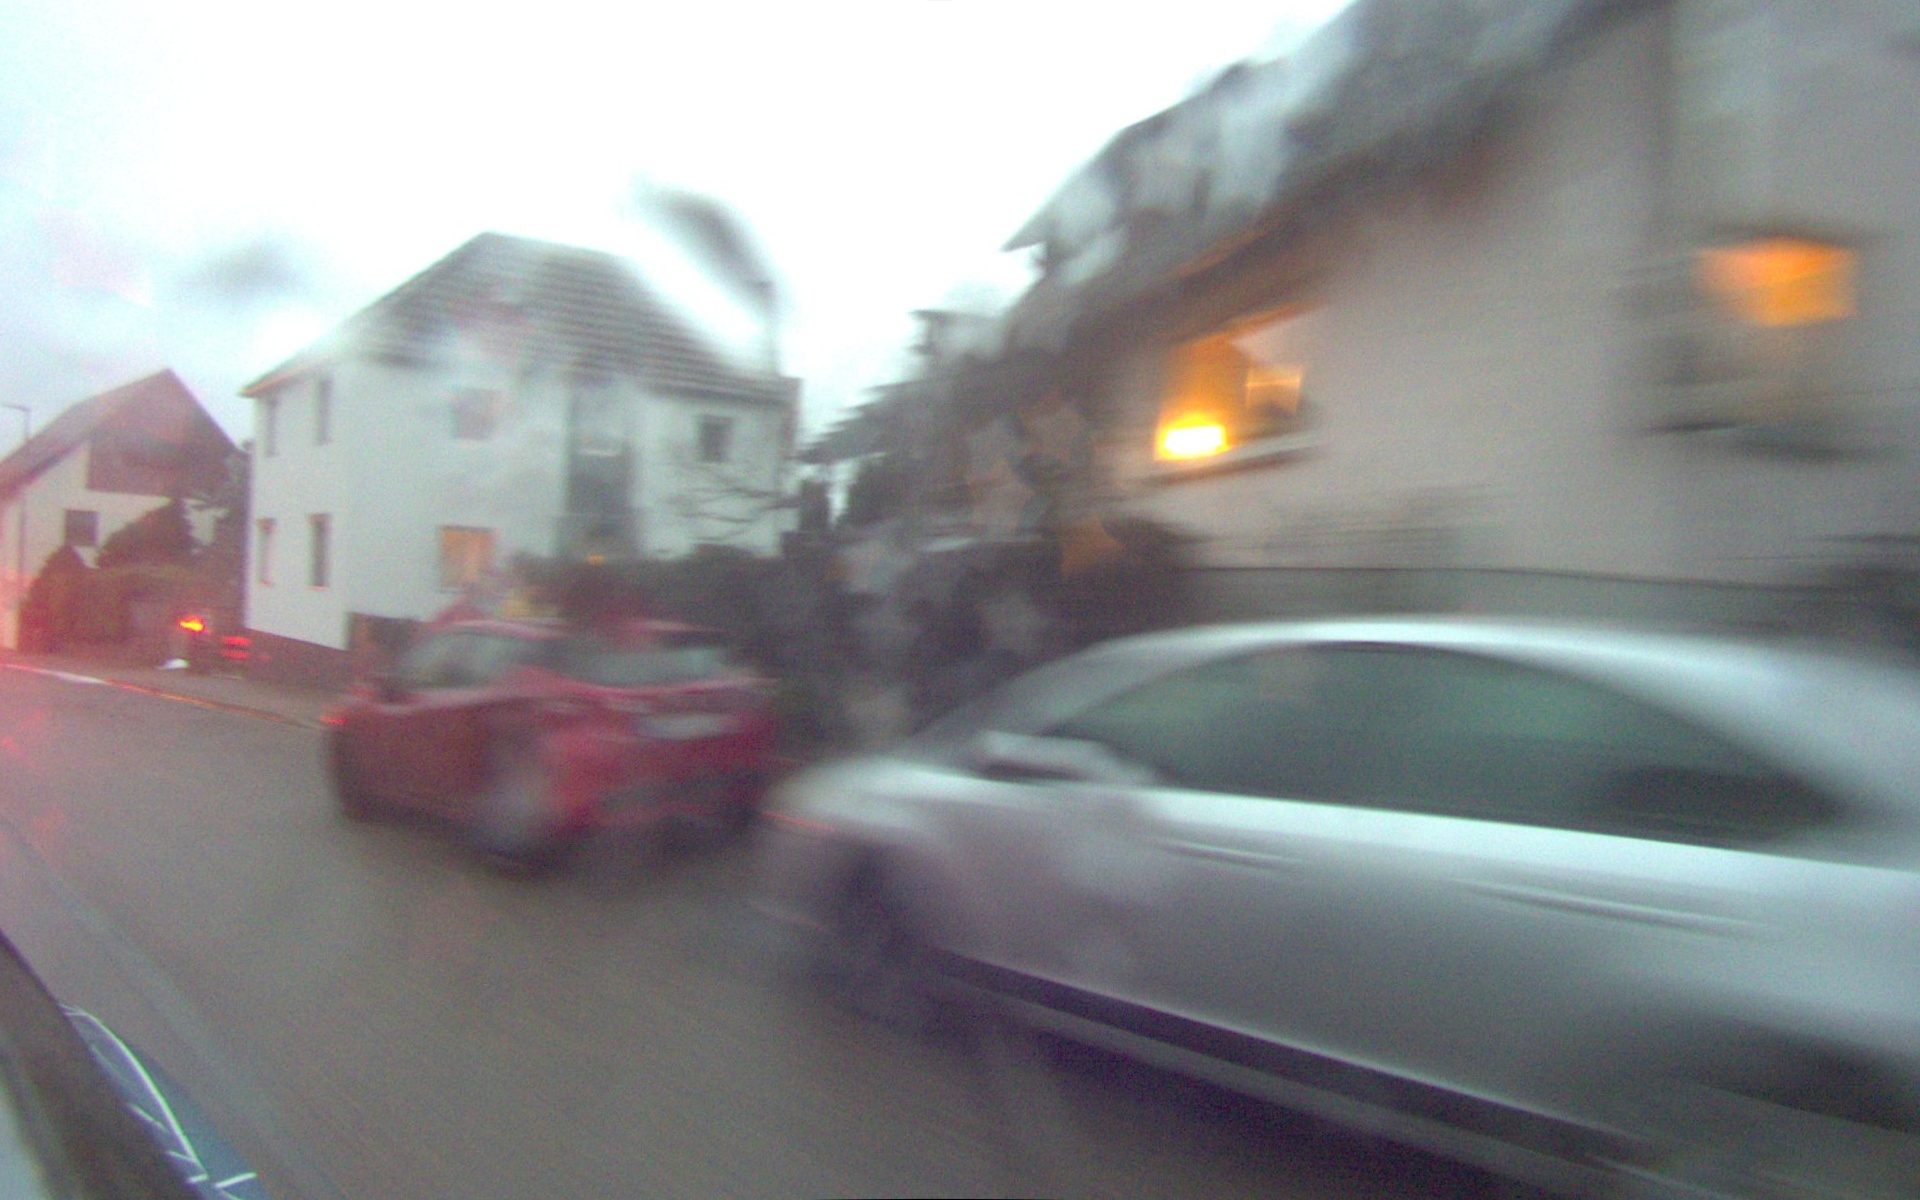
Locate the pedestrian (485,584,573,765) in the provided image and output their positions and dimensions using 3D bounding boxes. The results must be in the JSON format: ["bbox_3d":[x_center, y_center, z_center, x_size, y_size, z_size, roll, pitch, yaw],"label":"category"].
[{"bbox_3d":[-4.709,0.779,11.052,0.811,1.883,0.592,0,0,40],"label":"pedestrian"}]

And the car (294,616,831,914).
[{"bbox_3d":[-2.939,0.865,7.037,4.065,1.451,1.804,-1,-1,41],"label":"car"}]

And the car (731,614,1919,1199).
[{"bbox_3d":[1.226,0.760,3.279,4.144,1.399,1.731,-1,-1,41],"label":"car"}]

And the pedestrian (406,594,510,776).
[{"bbox_3d":[-5.199,0.837,10.482,0.812,1.792,0.699,0,-1,41],"label":"pedestrian"}]
